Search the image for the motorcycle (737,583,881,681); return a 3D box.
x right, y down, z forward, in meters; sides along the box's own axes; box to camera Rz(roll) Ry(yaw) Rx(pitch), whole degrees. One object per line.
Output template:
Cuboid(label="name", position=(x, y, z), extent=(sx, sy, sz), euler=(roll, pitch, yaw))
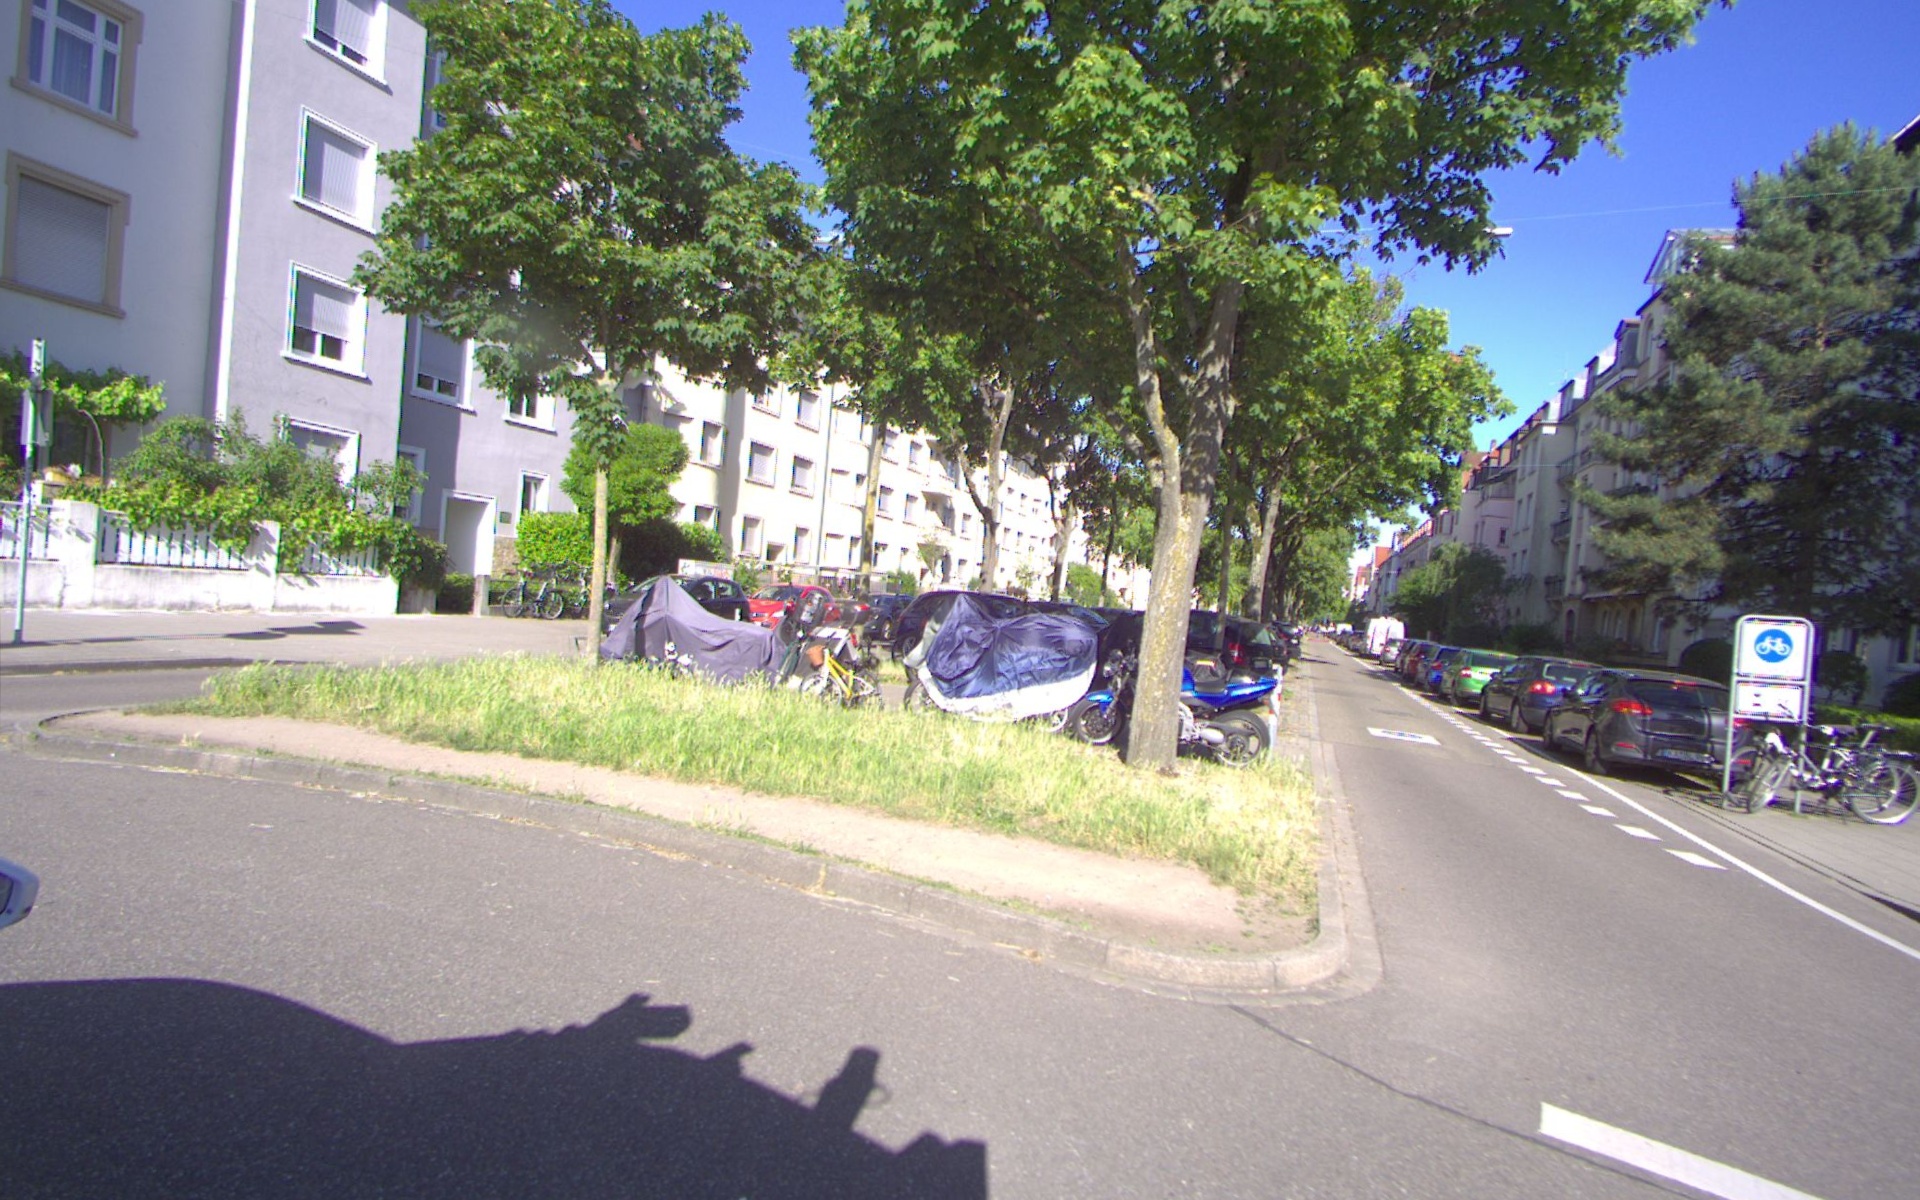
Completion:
Cuboid(label="motorcycle", position=(-2.268, 0.467, 15.171), extent=(1.859, 1.253, 0.889), euler=(6, 1, 19))

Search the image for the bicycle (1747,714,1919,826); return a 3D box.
Cuboid(label="bicycle", position=(9.819, 1.894, 11.321), extent=(1.423, 1.070, 0.330), euler=(3, 1, 18))

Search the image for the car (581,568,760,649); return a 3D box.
Cuboid(label="car", position=(-6.026, 0.202, 21.427), extent=(1.720, 1.463, 3.955), euler=(4, 0, 17))

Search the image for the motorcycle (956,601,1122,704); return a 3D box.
Cuboid(label="motorcycle", position=(1.201, 0.765, 15.206), extent=(2.200, 1.284, 1.051), euler=(6, 1, 19))

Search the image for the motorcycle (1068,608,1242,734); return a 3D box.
Cuboid(label="motorcycle", position=(2.643, 0.913, 13.563), extent=(2.087, 1.410, 1.062), euler=(6, 1, 17))

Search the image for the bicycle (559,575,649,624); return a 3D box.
Cuboid(label="bicycle", position=(-8.620, 0.019, 24.486), extent=(0.670, 1.073, 2.255), euler=(6, 1, 22))

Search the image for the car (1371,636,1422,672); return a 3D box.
Cuboid(label="car", position=(22.236, 2.737, 51.374), extent=(1.751, 1.504, 3.999), euler=(7, 1, 16))

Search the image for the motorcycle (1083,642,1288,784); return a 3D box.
Cuboid(label="motorcycle", position=(2.253, 1.081, 10.023), extent=(1.811, 1.087, 0.813), euler=(7, 2, 19))

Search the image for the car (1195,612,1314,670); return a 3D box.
Cuboid(label="car", position=(10.933, 1.490, 37.617), extent=(1.865, 1.746, 3.968), euler=(5, 1, -31))

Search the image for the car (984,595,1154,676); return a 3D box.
Cuboid(label="car", position=(2.657, 0.852, 25.168), extent=(3.948, 1.611, 1.696), euler=(6, 1, 45))

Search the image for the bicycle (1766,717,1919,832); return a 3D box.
Cuboid(label="bicycle", position=(9.672, 1.878, 10.871), extent=(1.423, 1.070, 0.330), euler=(3, 1, 18))

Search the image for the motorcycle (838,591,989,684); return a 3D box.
Cuboid(label="motorcycle", position=(-0.764, 0.607, 16.801), extent=(2.200, 1.284, 1.051), euler=(6, 1, 19))

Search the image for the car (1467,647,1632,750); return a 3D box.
Cuboid(label="car", position=(11.466, 1.840, 19.883), extent=(1.751, 1.504, 3.999), euler=(7, 1, 16))

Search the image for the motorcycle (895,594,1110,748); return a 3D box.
Cuboid(label="motorcycle", position=(0.458, 0.706, 10.598), extent=(2.015, 1.345, 0.862), euler=(5, 1, 16))

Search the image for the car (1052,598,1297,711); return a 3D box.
Cuboid(label="car", position=(3.986, 0.982, 18.940), extent=(3.940, 1.618, 1.992), euler=(6, 0, 37))

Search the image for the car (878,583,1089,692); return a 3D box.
Cuboid(label="car", position=(0.357, 0.679, 19.236), extent=(1.790, 1.661, 3.831), euler=(4, 1, -42))

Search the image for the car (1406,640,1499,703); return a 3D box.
Cuboid(label="car", position=(14.987, 2.131, 30.817), extent=(1.751, 1.504, 3.999), euler=(7, 1, 16))

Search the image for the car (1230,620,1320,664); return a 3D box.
Cuboid(label="car", position=(15.784, 2.097, 50.536), extent=(1.865, 1.746, 3.968), euler=(5, 1, -31))

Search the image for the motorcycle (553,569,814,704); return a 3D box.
Cuboid(label="motorcycle", position=(-3.292, 0.406, 12.053), extent=(2.731, 1.284, 1.127), euler=(5, 1, 14))

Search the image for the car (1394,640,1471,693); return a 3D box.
Cuboid(label="car", position=(16.774, 2.306, 35.875), extent=(1.751, 1.504, 3.999), euler=(7, 1, 16))

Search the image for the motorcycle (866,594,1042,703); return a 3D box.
Cuboid(label="motorcycle", position=(-0.076, 0.664, 14.397), extent=(2.200, 1.284, 1.051), euler=(6, 1, 19))

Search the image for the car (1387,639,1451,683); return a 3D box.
Cuboid(label="car", position=(19.335, 2.529, 42.562), extent=(1.751, 1.504, 3.999), euler=(7, 1, 16))

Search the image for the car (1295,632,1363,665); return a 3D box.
Cuboid(label="car", position=(24.707, 3.208, 67.511), extent=(1.863, 1.746, 3.972), euler=(5, 1, -28))

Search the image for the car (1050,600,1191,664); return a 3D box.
Cuboid(label="car", position=(5.024, 0.995, 31.821), extent=(3.948, 1.611, 1.874), euler=(6, 1, 45))

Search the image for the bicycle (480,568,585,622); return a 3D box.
Cuboid(label="bicycle", position=(-9.363, -0.084, 22.123), extent=(0.670, 1.073, 2.255), euler=(6, 1, 22))

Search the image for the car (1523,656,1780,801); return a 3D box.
Cuboid(label="car", position=(9.681, 1.697, 14.486), extent=(1.798, 1.430, 3.998), euler=(7, 1, 17))

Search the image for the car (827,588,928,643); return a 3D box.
Cuboid(label="car", position=(-2.503, 0.490, 31.435), extent=(1.720, 1.463, 3.853), euler=(6, 1, 17))

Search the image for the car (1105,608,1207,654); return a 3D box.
Cuboid(label="car", position=(8.684, 1.382, 44.739), extent=(3.948, 1.611, 1.874), euler=(6, 1, 45))

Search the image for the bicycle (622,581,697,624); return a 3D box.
Cuboid(label="bicycle", position=(-8.231, 0.097, 27.687), extent=(0.670, 1.073, 2.255), euler=(6, 1, 22))

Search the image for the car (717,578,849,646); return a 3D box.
Cuboid(label="car", position=(-4.504, 0.316, 26.162), extent=(1.720, 1.463, 3.853), euler=(6, 1, 17))

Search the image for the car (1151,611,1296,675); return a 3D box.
Cuboid(label="car", position=(8.227, 1.343, 31.594), extent=(3.945, 1.569, 1.772), euler=(6, 1, 42))

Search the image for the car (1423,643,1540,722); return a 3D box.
Cuboid(label="car", position=(13.187, 2.019, 25.693), extent=(1.751, 1.525, 3.999), euler=(8, 1, 16))

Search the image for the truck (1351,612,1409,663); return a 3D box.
Cuboid(label="truck", position=(25.699, 2.248, 61.786), extent=(2.366, 2.711, 5.904), euler=(7, 1, 16))

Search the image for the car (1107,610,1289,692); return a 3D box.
Cuboid(label="car", position=(5.952, 1.257, 25.407), extent=(3.947, 1.618, 1.868), euler=(6, 0, 43))
